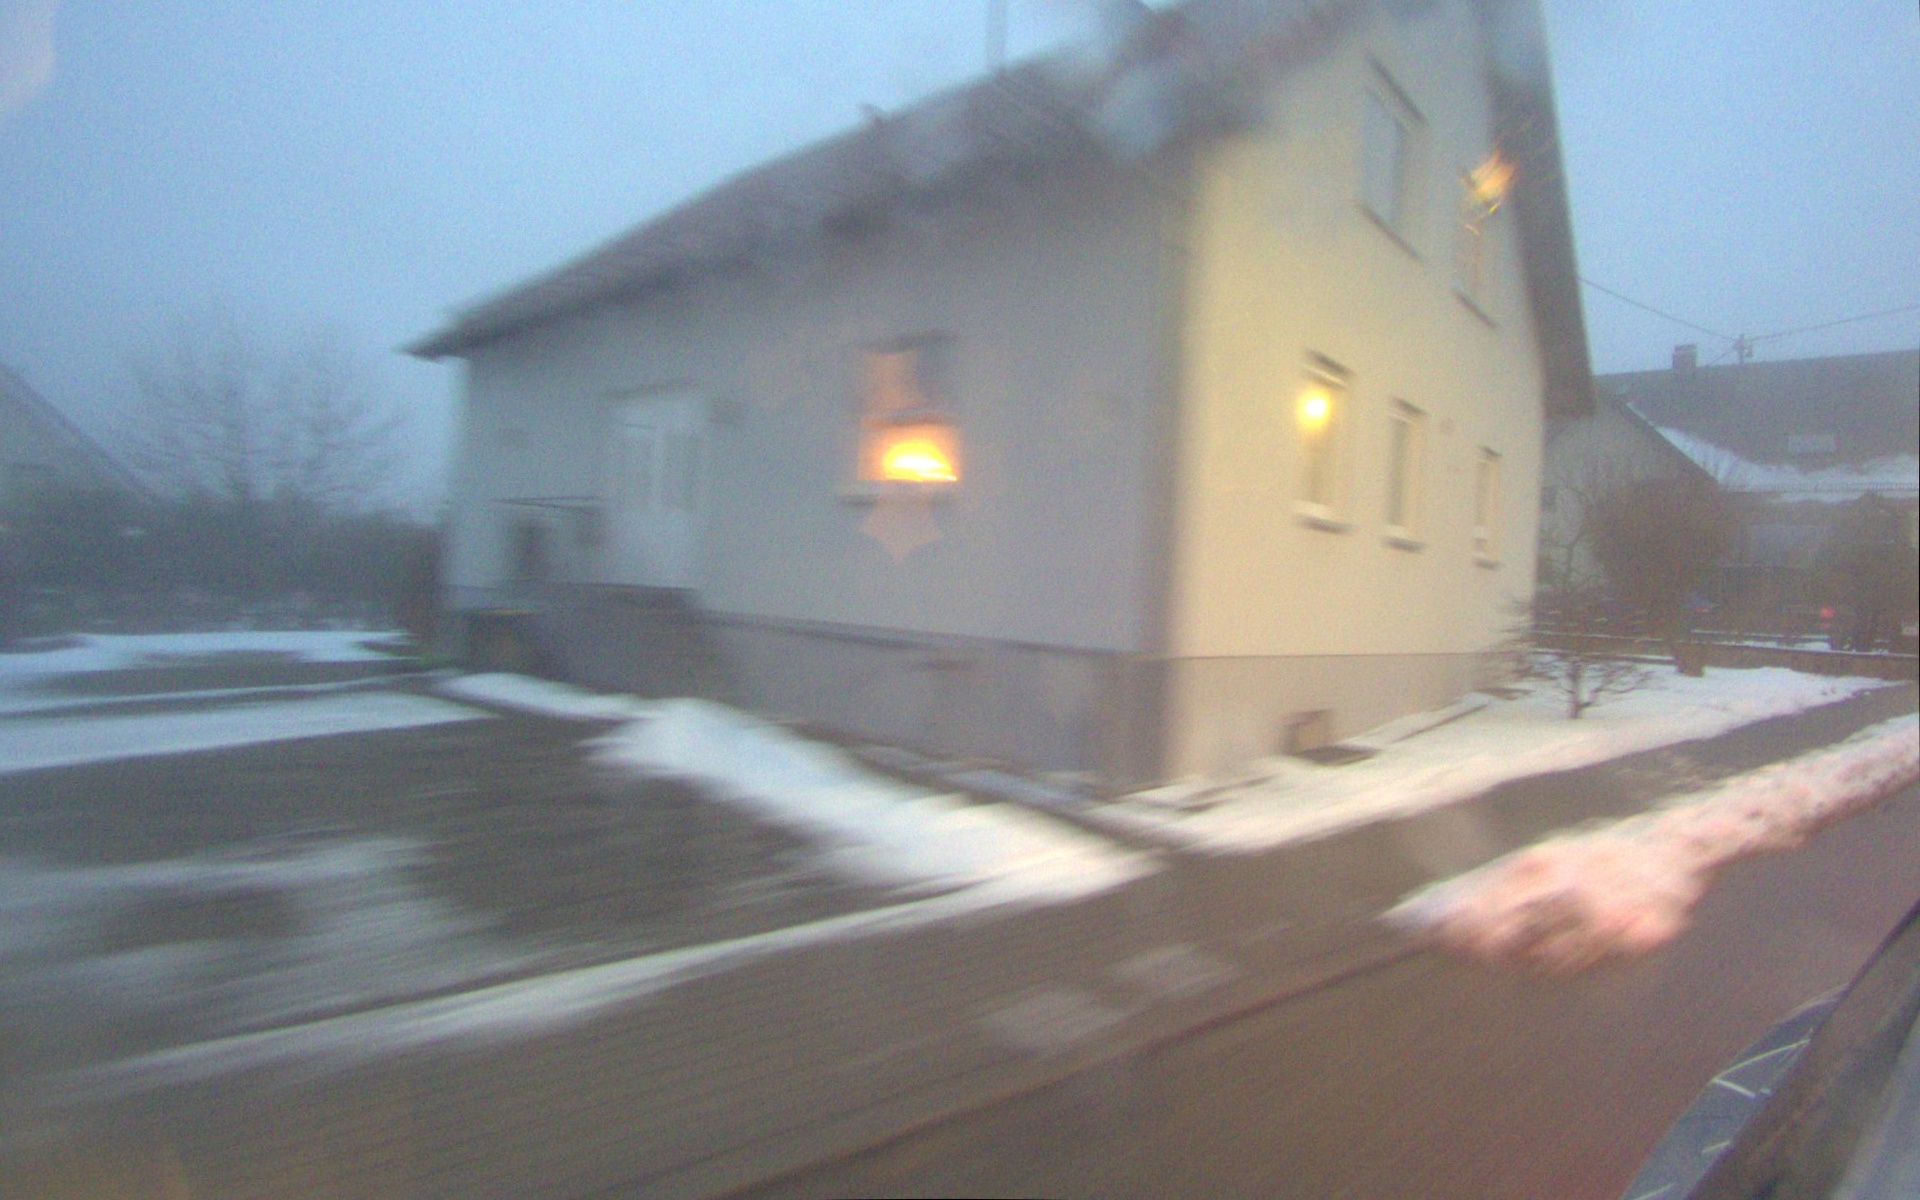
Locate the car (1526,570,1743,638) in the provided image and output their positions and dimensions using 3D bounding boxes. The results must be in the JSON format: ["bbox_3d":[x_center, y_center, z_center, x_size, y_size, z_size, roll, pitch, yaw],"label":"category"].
[{"bbox_3d":[17.327,0.076,26.114,4.444,1.607,1.970,0,1,42],"label":"car"}]
